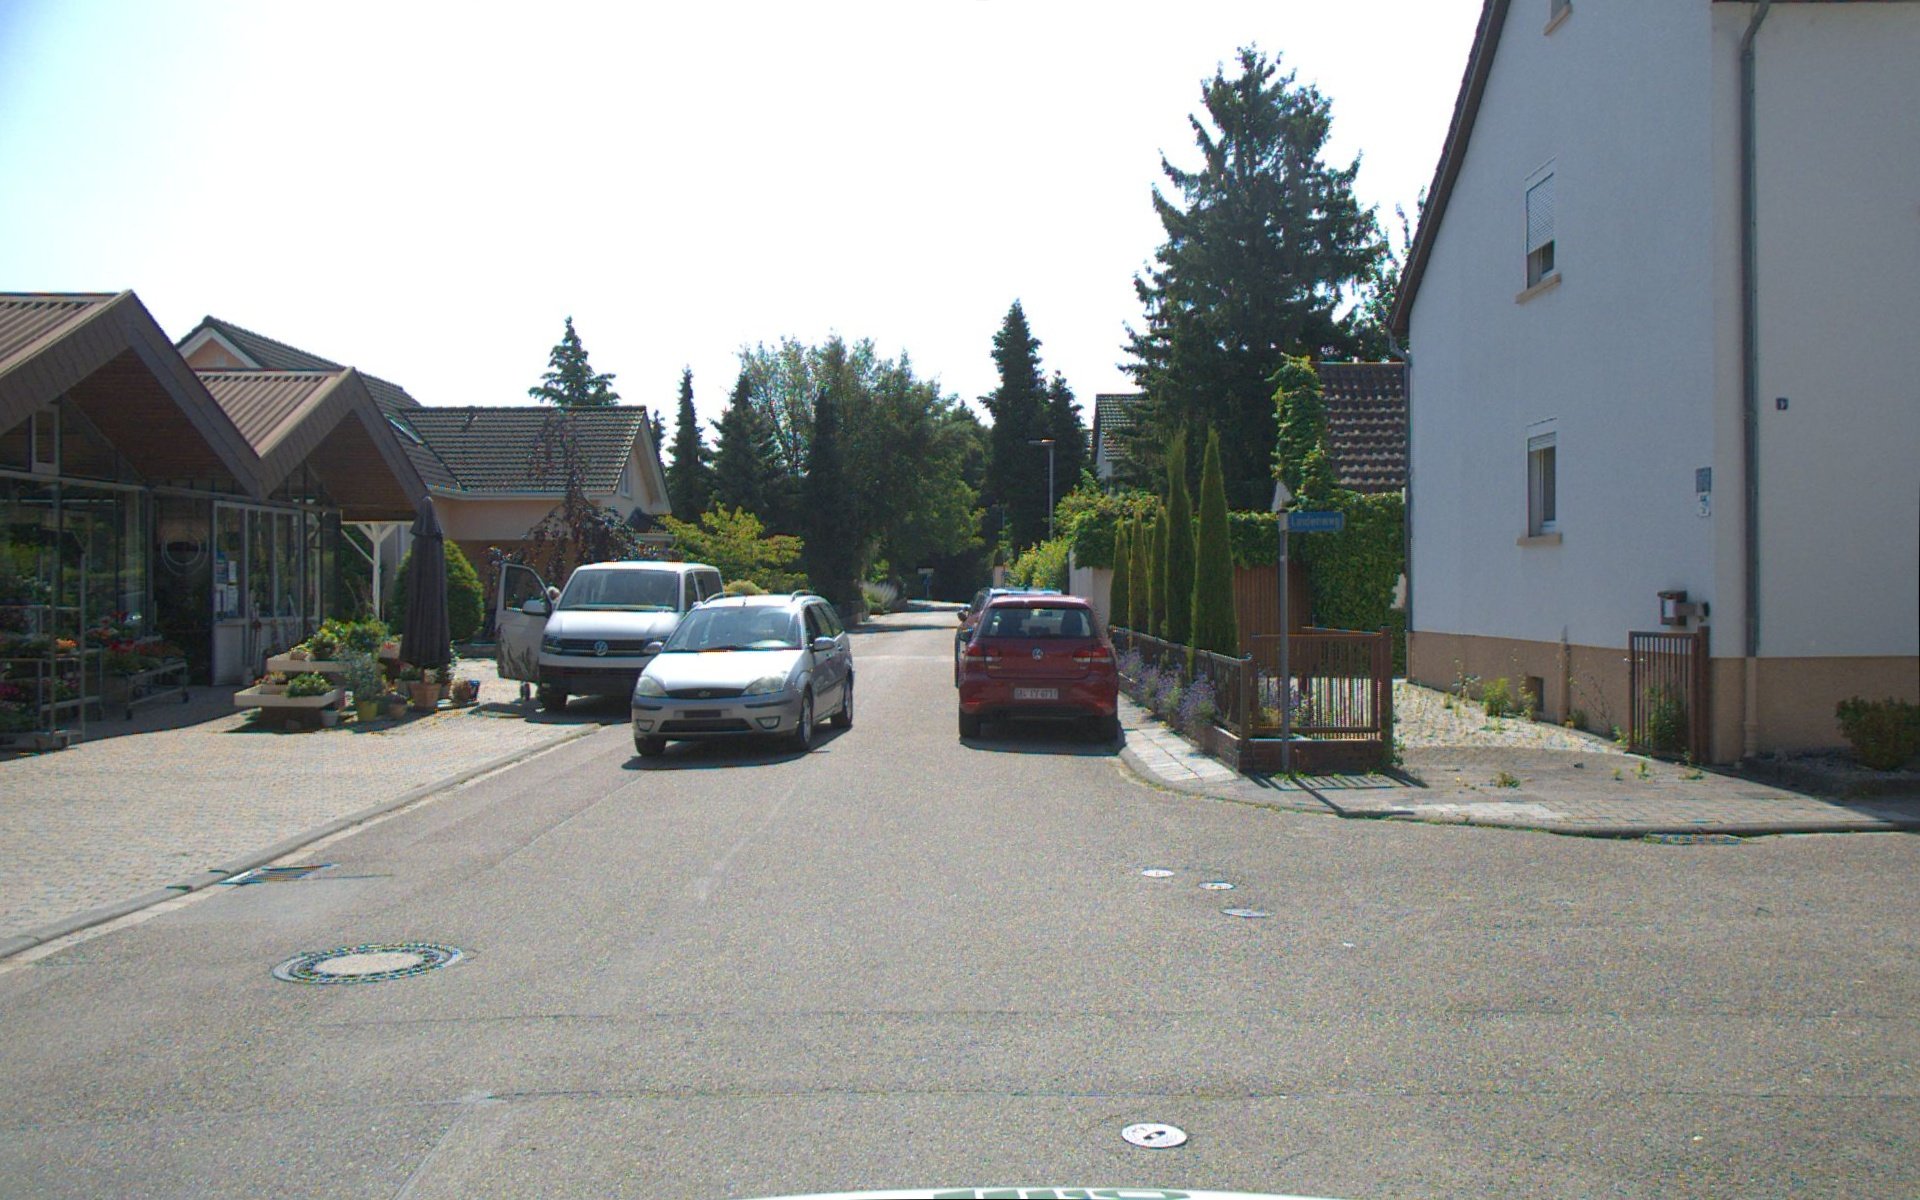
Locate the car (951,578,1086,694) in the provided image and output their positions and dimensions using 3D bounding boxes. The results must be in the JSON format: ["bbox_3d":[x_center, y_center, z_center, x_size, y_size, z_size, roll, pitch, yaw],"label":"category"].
[{"bbox_3d":[0.828,0.503,25.623,1.786,1.643,3.998,0,0,-3],"label":"car"}]

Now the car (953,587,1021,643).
[{"bbox_3d":[0.676,0.370,44.234,1.668,1.424,3.999,0,0,-1],"label":"car"}]

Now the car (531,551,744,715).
[{"bbox_3d":[-4.359,0.398,23.164,1.889,2.049,4.897,0,0,2],"label":"car"}]

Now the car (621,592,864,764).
[{"bbox_3d":[-2.111,0.704,17.292,1.716,1.513,4.377,-2,0,3],"label":"car"}]

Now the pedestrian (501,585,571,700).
[{"bbox_3d":[-5.890,0.577,22.995,0.704,1.565,0.640,0,1,33],"label":"pedestrian"}]

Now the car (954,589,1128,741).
[{"bbox_3d":[0.941,0.652,18.869,1.738,1.505,4.002,1,0,3],"label":"car"}]
